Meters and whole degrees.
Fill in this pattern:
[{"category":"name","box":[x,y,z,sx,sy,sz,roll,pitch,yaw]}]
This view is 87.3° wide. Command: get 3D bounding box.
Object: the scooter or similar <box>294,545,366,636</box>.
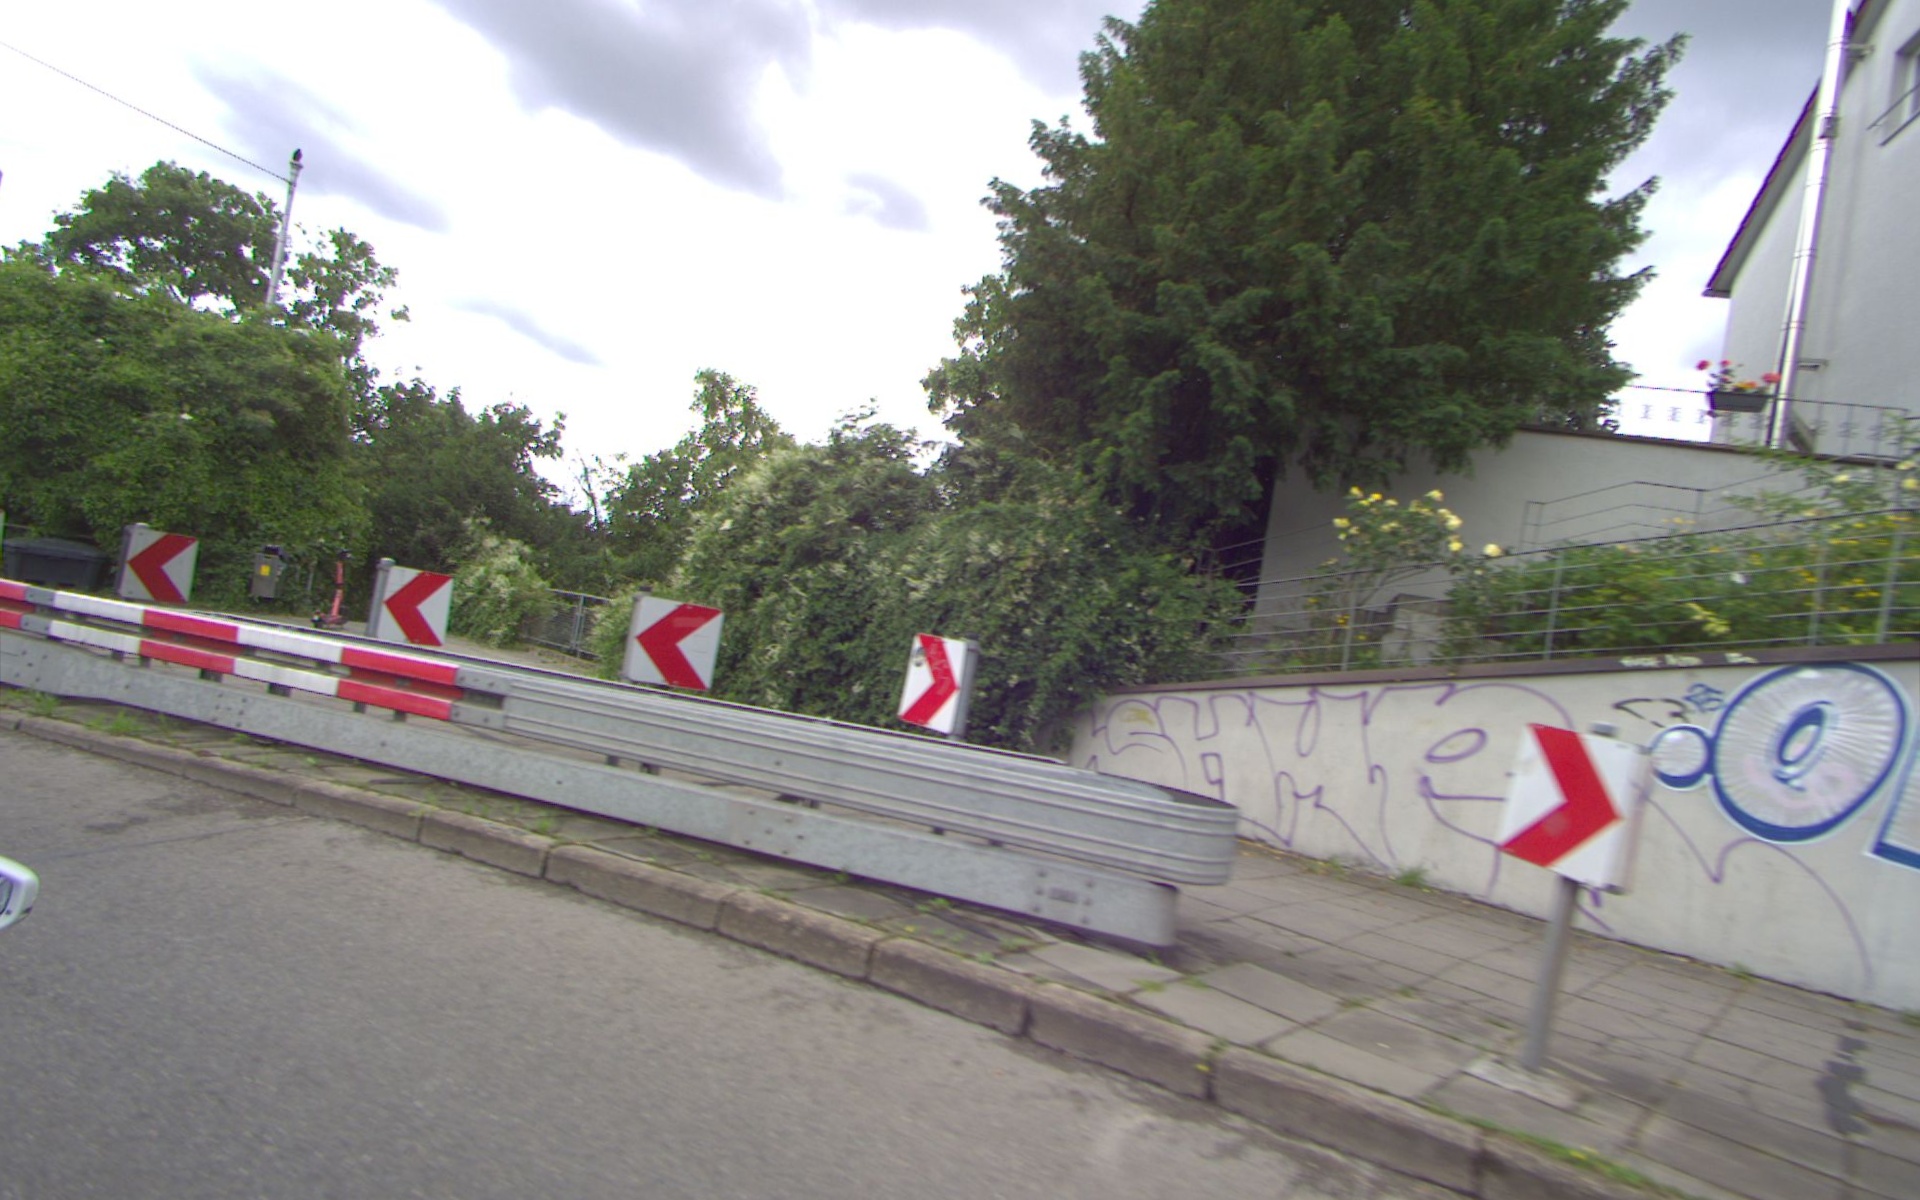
[{"category":"scooter or similar","box":[-9.597,-0.140,15.371,0.431,1.264,1.496,9,-3,-18]}]
